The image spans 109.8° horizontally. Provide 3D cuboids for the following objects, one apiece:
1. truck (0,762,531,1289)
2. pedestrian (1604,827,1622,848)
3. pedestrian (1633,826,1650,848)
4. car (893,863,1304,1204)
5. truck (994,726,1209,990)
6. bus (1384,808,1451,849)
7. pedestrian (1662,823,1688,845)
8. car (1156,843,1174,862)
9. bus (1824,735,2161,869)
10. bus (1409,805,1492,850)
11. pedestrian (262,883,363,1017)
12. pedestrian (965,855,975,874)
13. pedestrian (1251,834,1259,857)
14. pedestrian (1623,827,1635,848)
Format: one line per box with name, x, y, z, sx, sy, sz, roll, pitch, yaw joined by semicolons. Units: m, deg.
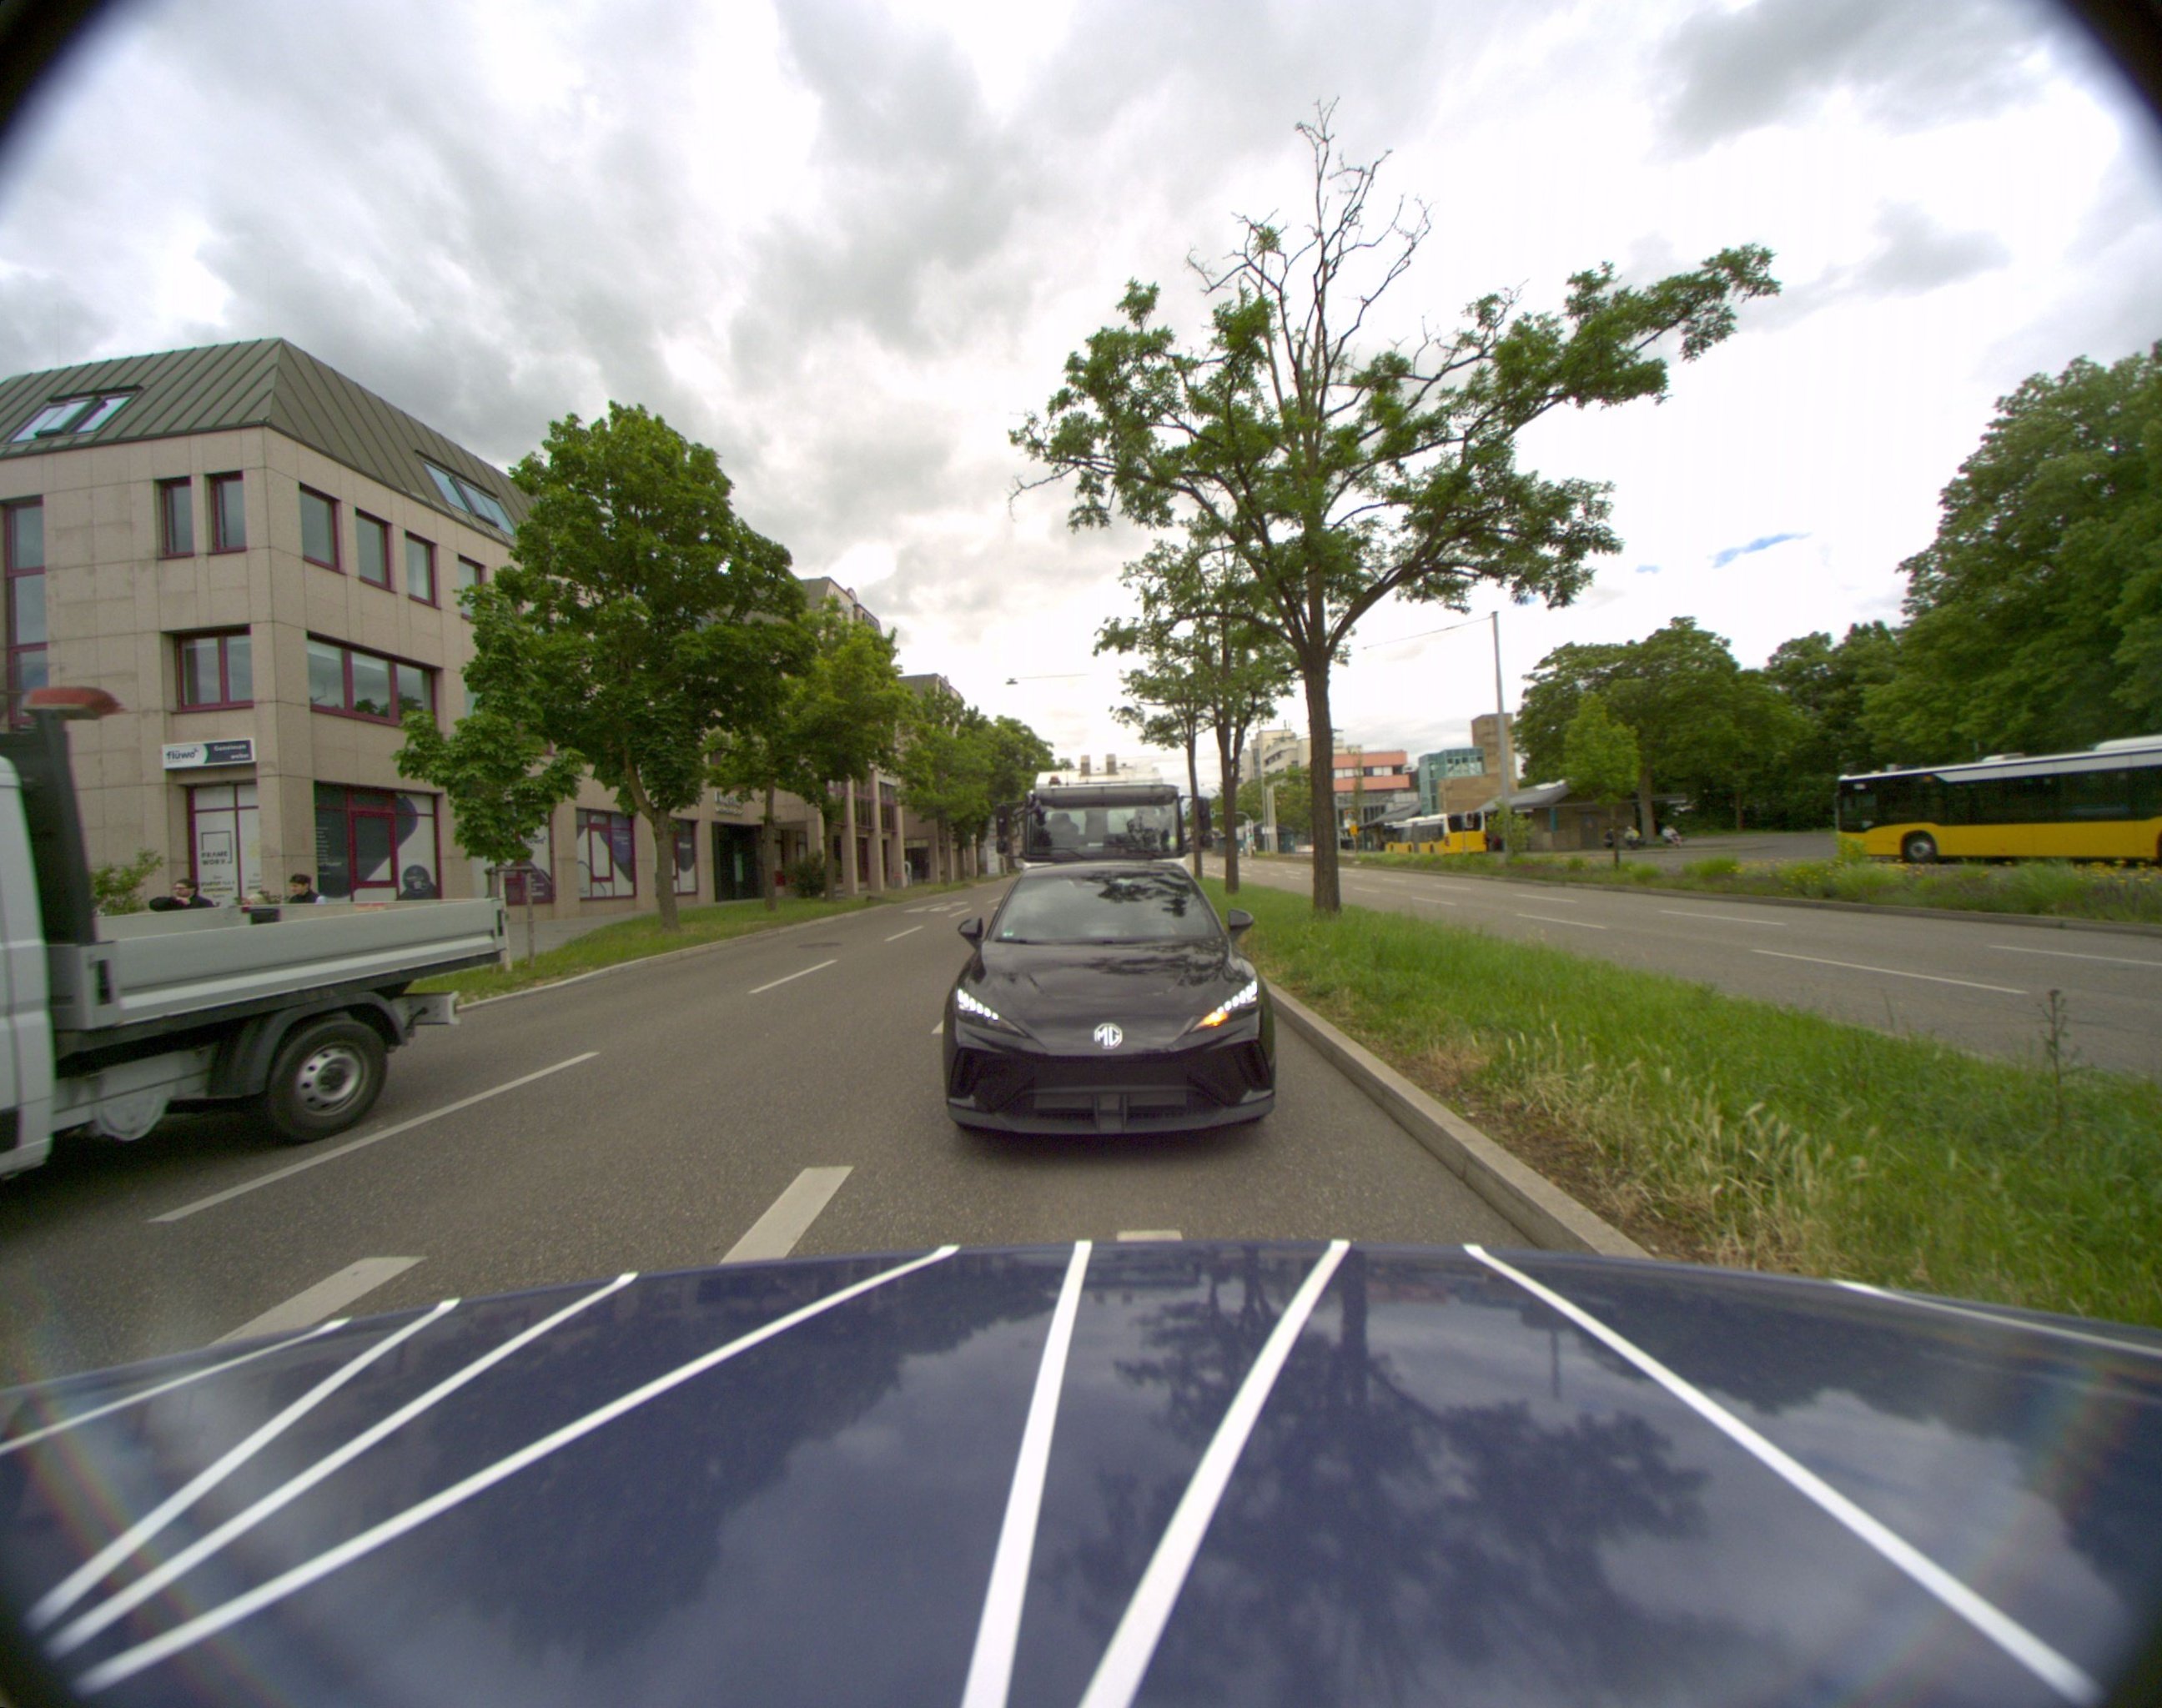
truck;-5.633;0.758;3.100;2.216;2.190;5.845;-3;0;3
pedestrian;30.750;-0.964;43.931;0.599;1.155;0.743;-2;1;16
pedestrian;30.621;-0.922;41.512;0.598;1.155;0.744;-2;1;26
car;0.107;0.856;5.499;1.827;1.430;4.000;-3;0;1
truck;0.306;0.039;13.168;2.544;3.187;7.368;-3;0;1
bus;27.615;-1.971;62.833;2.887;2.985;9.182;-3;0;10
pedestrian;31.997;-1.081;40.930;0.650;1.165;0.925;-2;1;1
car;9.411;-0.218;85.475;1.726;2.002;4.001;-3;0;3
bus;25.914;-1.251;20.188;2.888;2.985;10.397;-3;0;6
bus;26.081;-1.758;54.181;2.887;2.793;9.182;-3;0;10
pedestrian;-10.853;1.329;10.753;0.642;1.795;0.677;-3;1;1
pedestrian;-10.231;0.984;70.082;0.719;1.737;0.832;-2;1;1
pedestrian;21.389;-1.089;93.418;0.903;2.772;1.148;-2;1;13
pedestrian;30.192;-0.918;41.871;0.367;1.160;0.899;-2;1;26
